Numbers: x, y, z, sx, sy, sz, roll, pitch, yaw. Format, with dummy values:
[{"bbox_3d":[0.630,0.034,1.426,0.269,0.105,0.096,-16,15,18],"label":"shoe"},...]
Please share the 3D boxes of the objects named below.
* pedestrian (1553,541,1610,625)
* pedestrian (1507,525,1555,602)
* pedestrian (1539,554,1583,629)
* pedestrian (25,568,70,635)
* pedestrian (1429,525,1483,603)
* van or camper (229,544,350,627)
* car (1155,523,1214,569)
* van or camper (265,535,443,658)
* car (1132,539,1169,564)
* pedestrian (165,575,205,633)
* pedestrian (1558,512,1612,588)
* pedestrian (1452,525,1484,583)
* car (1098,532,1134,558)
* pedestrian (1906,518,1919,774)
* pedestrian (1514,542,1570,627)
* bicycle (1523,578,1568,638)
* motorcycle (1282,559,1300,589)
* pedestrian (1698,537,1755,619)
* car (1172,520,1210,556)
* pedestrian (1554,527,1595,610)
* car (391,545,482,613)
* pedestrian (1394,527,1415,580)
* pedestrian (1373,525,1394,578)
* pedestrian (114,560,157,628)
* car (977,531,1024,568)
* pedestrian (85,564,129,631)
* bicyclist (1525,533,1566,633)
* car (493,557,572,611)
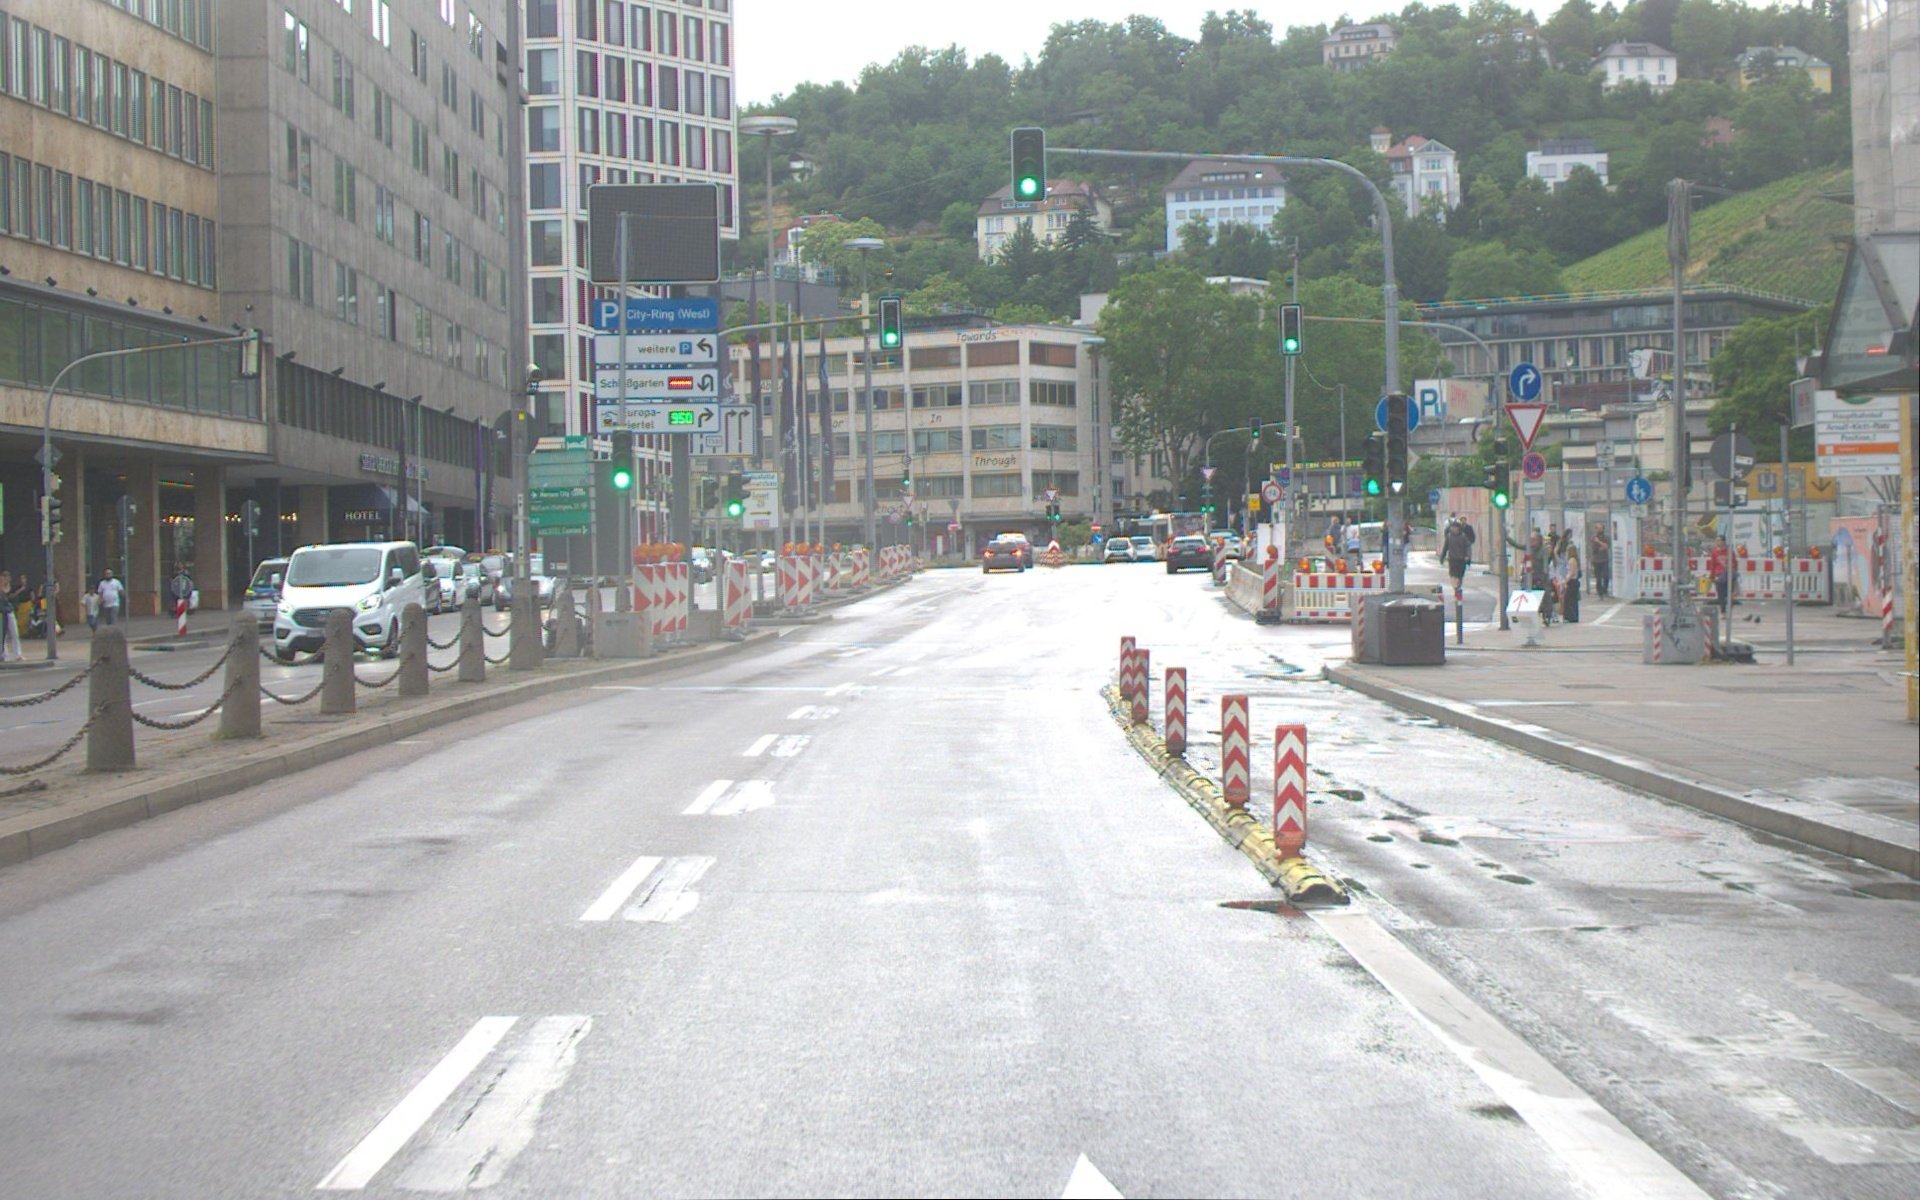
[{"bbox_3d":[11.911,-0.328,65.867,0.796,1.602,0.834,-1,0,31],"label":"pedestrian"},{"bbox_3d":[13.788,-0.885,83.044,0.946,1.835,0.867,-1,0,-2],"label":"pedestrian"},{"bbox_3d":[13.581,-0.192,77.679,0.865,1.655,0.797,-1,0,4],"label":"pedestrian"},{"bbox_3d":[-21.449,0.029,80.842,0.721,1.552,1.005,-1,0,3],"label":"pedestrian"},{"bbox_3d":[11.901,-0.861,82.497,0.948,1.835,0.945,-1,0,32],"label":"pedestrian"},{"bbox_3d":[-17.027,-0.376,87.567,1.993,2.007,4.965,-1,0,1],"label":"van or camper"},{"bbox_3d":[8.659,-2.071,132.842,1.993,1.700,4.000,-1,0,0],"label":"car"},{"bbox_3d":[-10.420,-0.079,59.505,1.993,2.007,5.189,-1,0,2],"label":"van or camper"},{"bbox_3d":[11.488,-2.925,207.381,1.993,1.437,4.000,1,1,0],"label":"car"},{"bbox_3d":[-20.888,0.103,92.677,0.795,1.521,0.916,-1,0,3],"label":"pedestrian"},{"bbox_3d":[15.232,-1.220,83.798,0.867,1.835,0.947,-1,0,44],"label":"pedestrian"},{"bbox_3d":[16.395,-1.479,110.966,0.946,1.835,0.867,-1,0,8],"label":"pedestrian"},{"bbox_3d":[8.742,-3.106,192.946,1.819,1.437,4.000,1,1,0],"label":"car"},{"bbox_3d":[6.686,0.295,22.361,0.701,1.674,0.723,-1,1,-27],"label":"pedestrian"},{"bbox_3d":[11.218,-0.303,66.287,0.796,1.602,0.834,-1,0,30],"label":"pedestrian"},{"bbox_3d":[10.850,0.139,63.739,0.707,1.046,1.806,0,1,6],"label":"bicycle"},{"bbox_3d":[7.981,-0.627,82.881,0.371,0.719,0.922,1,1,4],"label":"motorcycle"},{"bbox_3d":[15.218,-0.434,68.268,0.767,1.602,0.863,-1,0,-13],"label":"pedestrian"},{"bbox_3d":[11.745,-3.141,175.001,1.776,1.634,3.999,-2,-1,2],"label":"car"},{"bbox_3d":[13.908,-0.713,77.779,0.865,1.835,0.797,-1,0,11],"label":"pedestrian"},{"bbox_3d":[-16.141,-0.656,106.219,1.993,2.007,4.164,-1,1,2],"label":"car"},{"bbox_3d":[15.470,-1.610,119.708,0.688,1.835,0.614,-1,0,7],"label":"pedestrian"},{"bbox_3d":[14.754,-1.696,119.797,0.688,1.835,0.614,-1,0,7],"label":"pedestrian"},{"bbox_3d":[-19.262,-0.146,80.318,0.721,1.552,0.895,-1,0,3],"label":"pedestrian"},{"bbox_3d":[1.771,-2.216,151.004,1.993,1.547,4.000,-1,0,0],"label":"car"},{"bbox_3d":[-20.004,-0.065,80.618,0.721,1.552,0.905,-1,0,3],"label":"pedestrian"},{"bbox_3d":[10.842,-0.314,63.676,0.703,1.838,0.968,0,0,6],"label":"bicyclist"},{"bbox_3d":[-13.049,-0.500,105.122,1.768,1.603,4.226,-1,0,1],"label":"car"}]
